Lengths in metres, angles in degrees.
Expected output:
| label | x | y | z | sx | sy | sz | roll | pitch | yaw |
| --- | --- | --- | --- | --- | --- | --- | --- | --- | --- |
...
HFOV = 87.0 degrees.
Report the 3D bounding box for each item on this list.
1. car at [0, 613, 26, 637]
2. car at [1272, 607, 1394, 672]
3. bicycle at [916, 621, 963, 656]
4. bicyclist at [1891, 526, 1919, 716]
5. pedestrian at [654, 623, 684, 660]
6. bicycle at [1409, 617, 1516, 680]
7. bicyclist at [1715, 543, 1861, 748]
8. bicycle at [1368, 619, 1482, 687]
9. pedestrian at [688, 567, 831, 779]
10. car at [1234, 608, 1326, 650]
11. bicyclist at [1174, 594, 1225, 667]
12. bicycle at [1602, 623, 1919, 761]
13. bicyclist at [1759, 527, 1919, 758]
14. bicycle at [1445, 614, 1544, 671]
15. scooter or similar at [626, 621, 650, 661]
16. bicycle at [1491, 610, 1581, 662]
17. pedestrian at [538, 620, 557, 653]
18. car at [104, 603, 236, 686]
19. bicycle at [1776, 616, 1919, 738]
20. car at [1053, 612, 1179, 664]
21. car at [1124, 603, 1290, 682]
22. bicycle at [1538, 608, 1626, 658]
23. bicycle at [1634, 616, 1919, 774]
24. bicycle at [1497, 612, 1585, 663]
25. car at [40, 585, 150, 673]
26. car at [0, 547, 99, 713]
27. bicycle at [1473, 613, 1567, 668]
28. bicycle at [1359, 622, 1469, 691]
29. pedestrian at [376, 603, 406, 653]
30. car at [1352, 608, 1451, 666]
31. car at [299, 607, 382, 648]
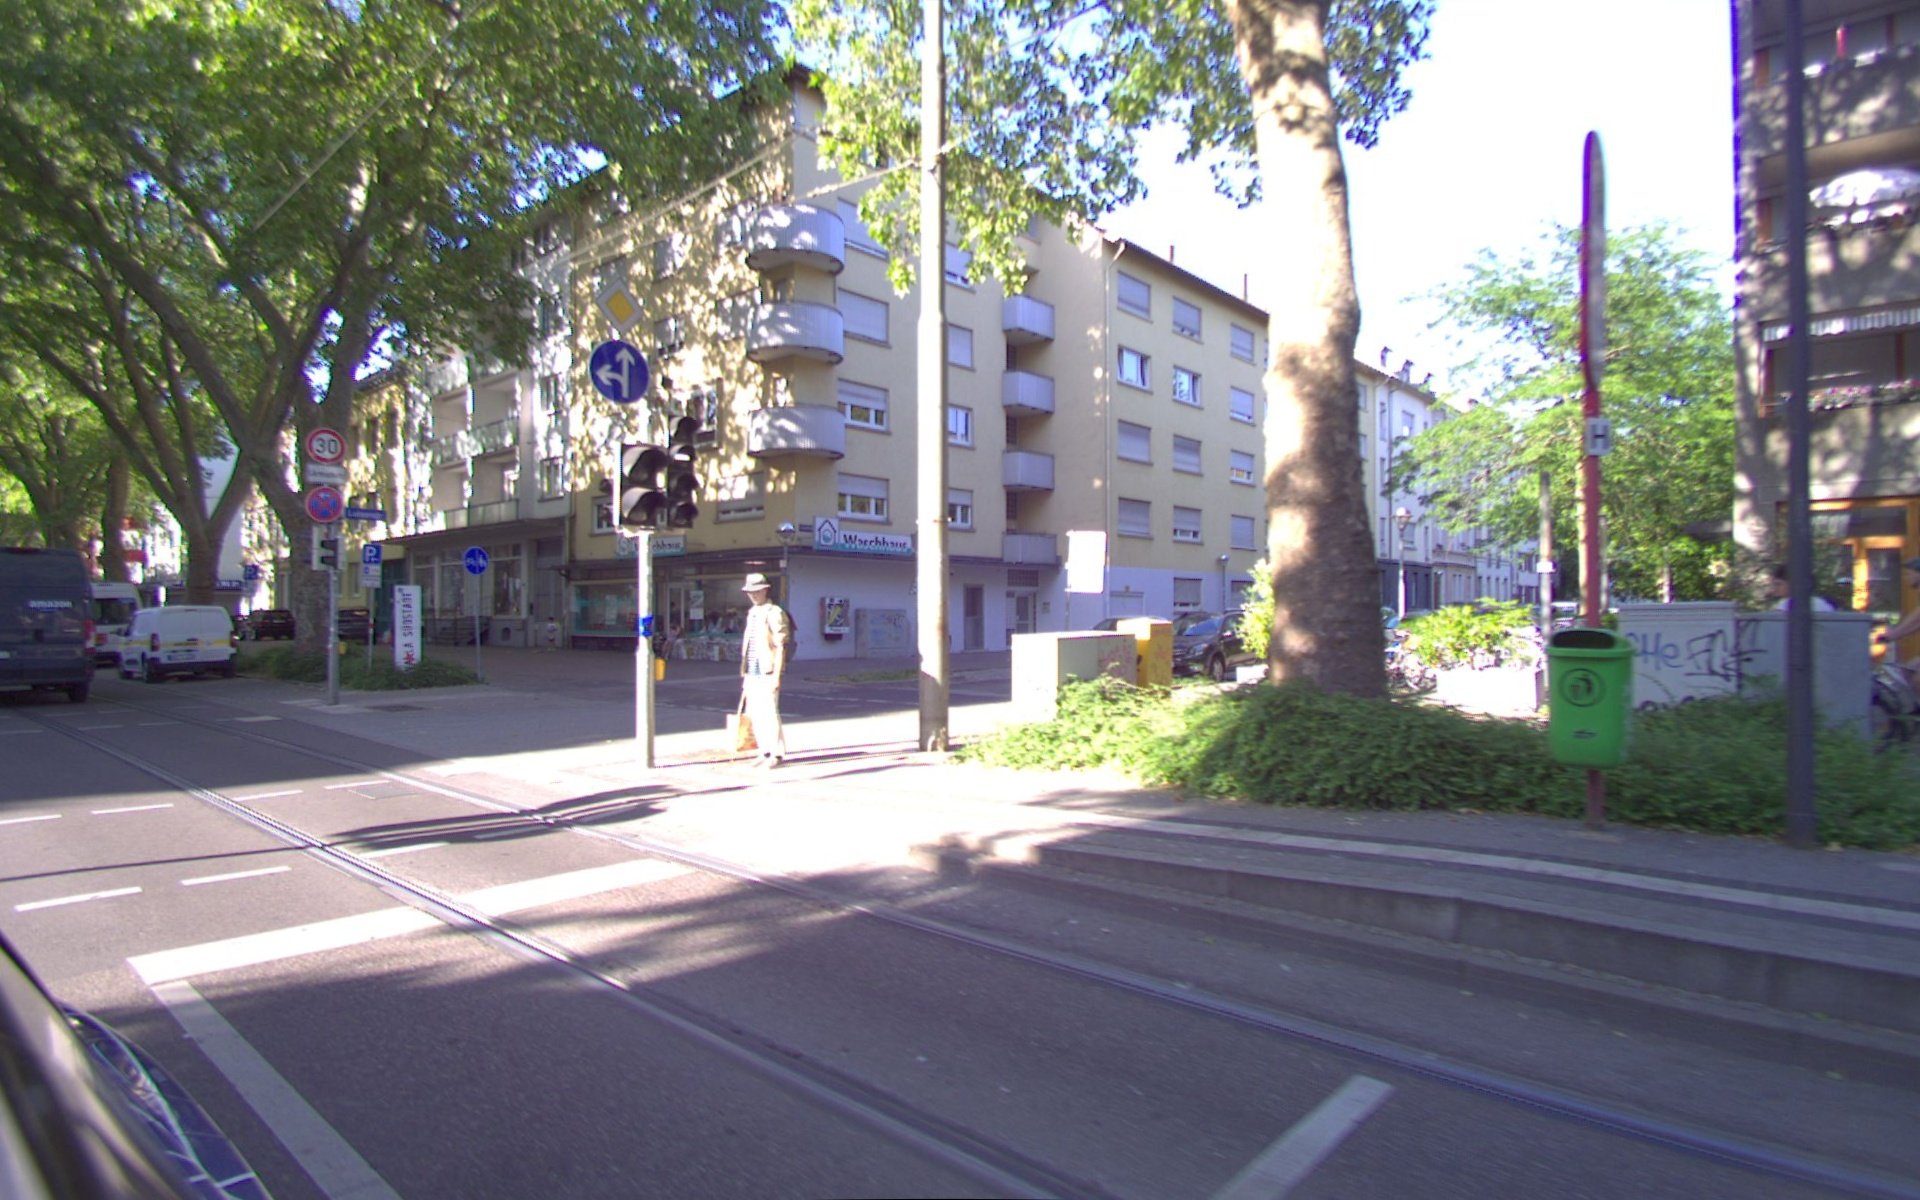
| label | x | y | z | sx | sy | sz | roll | pitch | yaw |
| --- | --- | --- | --- | --- | --- | --- | --- | --- | --- |
| car | -82.070 | 2.132 | 85.007 | 1.997 | 2.010 | 5.073 | -1 | 0 | 37 |
| car | 10.392 | 1.031 | 28.047 | 1.959 | 1.674 | 3.946 | -1 | -1 | 40 |
| bicycle | -0.641 | 1.226 | 32.642 | 0.543 | 1.092 | 1.615 | -2 | -2 | 42 |
| bicyclist | 9.450 | 0.188 | 9.480 | 0.996 | 1.763 | 0.767 | -1 | 0 | 39 |
| pedestrian | -8.736 | 1.242 | 30.416 | 0.711 | 1.055 | 0.572 | -1 | 0 | 40 |
| bicycle | 9.144 | 0.889 | 18.456 | 1.637 | 1.092 | 0.536 | -3 | -2 | 41 |
| bicyclist | 7.608 | 0.394 | 9.330 | 0.997 | 1.763 | 0.767 | -1 | 0 | 40 |
| bicycle | 7.929 | 0.913 | 17.295 | 1.637 | 1.092 | 0.536 | -4 | -2 | 40 |
| pedestrian | -1.869 | 0.636 | 9.457 | 0.919 | 1.849 | 0.915 | -1 | 0 | 38 |
| car | 12.416 | 1.088 | 39.146 | 1.999 | 1.469 | 3.946 | -1 | 0 | 40 |
| bicyclist | 5.298 | 0.654 | 22.367 | 0.979 | 1.559 | 0.682 | -1 | 0 | -45 |
| bicycle | 7.542 | 0.795 | 9.395 | 2.593 | 1.119 | 0.774 | -1 | 0 | 39 |
| bicyclist | 7.247 | 0.327 | 8.402 | 0.950 | 1.776 | 0.775 | -1 | 0 | 39 |
| bicycle | 10.649 | 0.848 | 20.193 | 1.637 | 1.092 | 0.536 | -2 | -2 | 41 |
| scooter or similar | -9.733 | 1.241 | 30.623 | 0.633 | 1.176 | 0.677 | -1 | 0 | -22 |
| bicycle | 12.588 | 0.778 | 22.143 | 1.637 | 1.092 | 0.536 | -1 | 0 | 41 |
| pedestrian | -14.479 | 1.273 | 35.541 | 0.436 | 1.114 | 0.417 | -1 | 0 | 32 |
| car | -19.721 | 1.038 | 25.209 | 4.315 | 1.864 | 1.745 | -1 | 0 | 40 |
| bicycle | 9.377 | 0.722 | 9.548 | 2.593 | 1.119 | 0.774 | -1 | 0 | 39 |
| car | 4.743 | 1.094 | 30.481 | 1.999 | 1.386 | 3.946 | -1 | 0 | 40 |
| car | 5.503 | 0.856 | 22.284 | 1.999 | 1.519 | 3.946 | -1 | 0 | 40 |
| bicycle | 14.189 | 0.738 | 23.113 | 1.637 | 1.092 | 0.536 | -1 | 0 | 41 |
| bicycle | 7.211 | 0.739 | 8.428 | 2.593 | 1.200 | 0.774 | -1 | 0 | 39 |
| bicycle | 13.024 | 0.830 | 22.716 | 1.637 | 1.092 | 0.536 | -1 | 0 | 41 |
| car | -27.878 | 0.870 | 32.534 | 6.025 | 2.597 | 2.084 | -1 | 0 | 44 |
| car | -18.173 | 0.528 | 18.952 | 6.110 | 2.759 | 2.092 | -1 | -2 | 40 |
| bicycle | 11.693 | 0.823 | 21.163 | 1.637 | 1.092 | 0.536 | -1 | 0 | 41 |
| bicycle | 7.526 | 0.951 | 16.824 | 1.536 | 1.092 | 0.536 | -4 | -2 | 40 |
| pedestrian | -22.040 | 1.072 | 39.193 | 0.863 | 1.883 | 0.737 | -1 | 0 | 39 |
| car | 14.283 | 1.130 | 32.623 | 1.867 | 1.674 | 3.946 | -1 | 0 | 40 |
| car | -28.697 | 1.230 | 46.804 | 4.897 | 1.746 | 1.972 | -1 | 0 | 42 |
